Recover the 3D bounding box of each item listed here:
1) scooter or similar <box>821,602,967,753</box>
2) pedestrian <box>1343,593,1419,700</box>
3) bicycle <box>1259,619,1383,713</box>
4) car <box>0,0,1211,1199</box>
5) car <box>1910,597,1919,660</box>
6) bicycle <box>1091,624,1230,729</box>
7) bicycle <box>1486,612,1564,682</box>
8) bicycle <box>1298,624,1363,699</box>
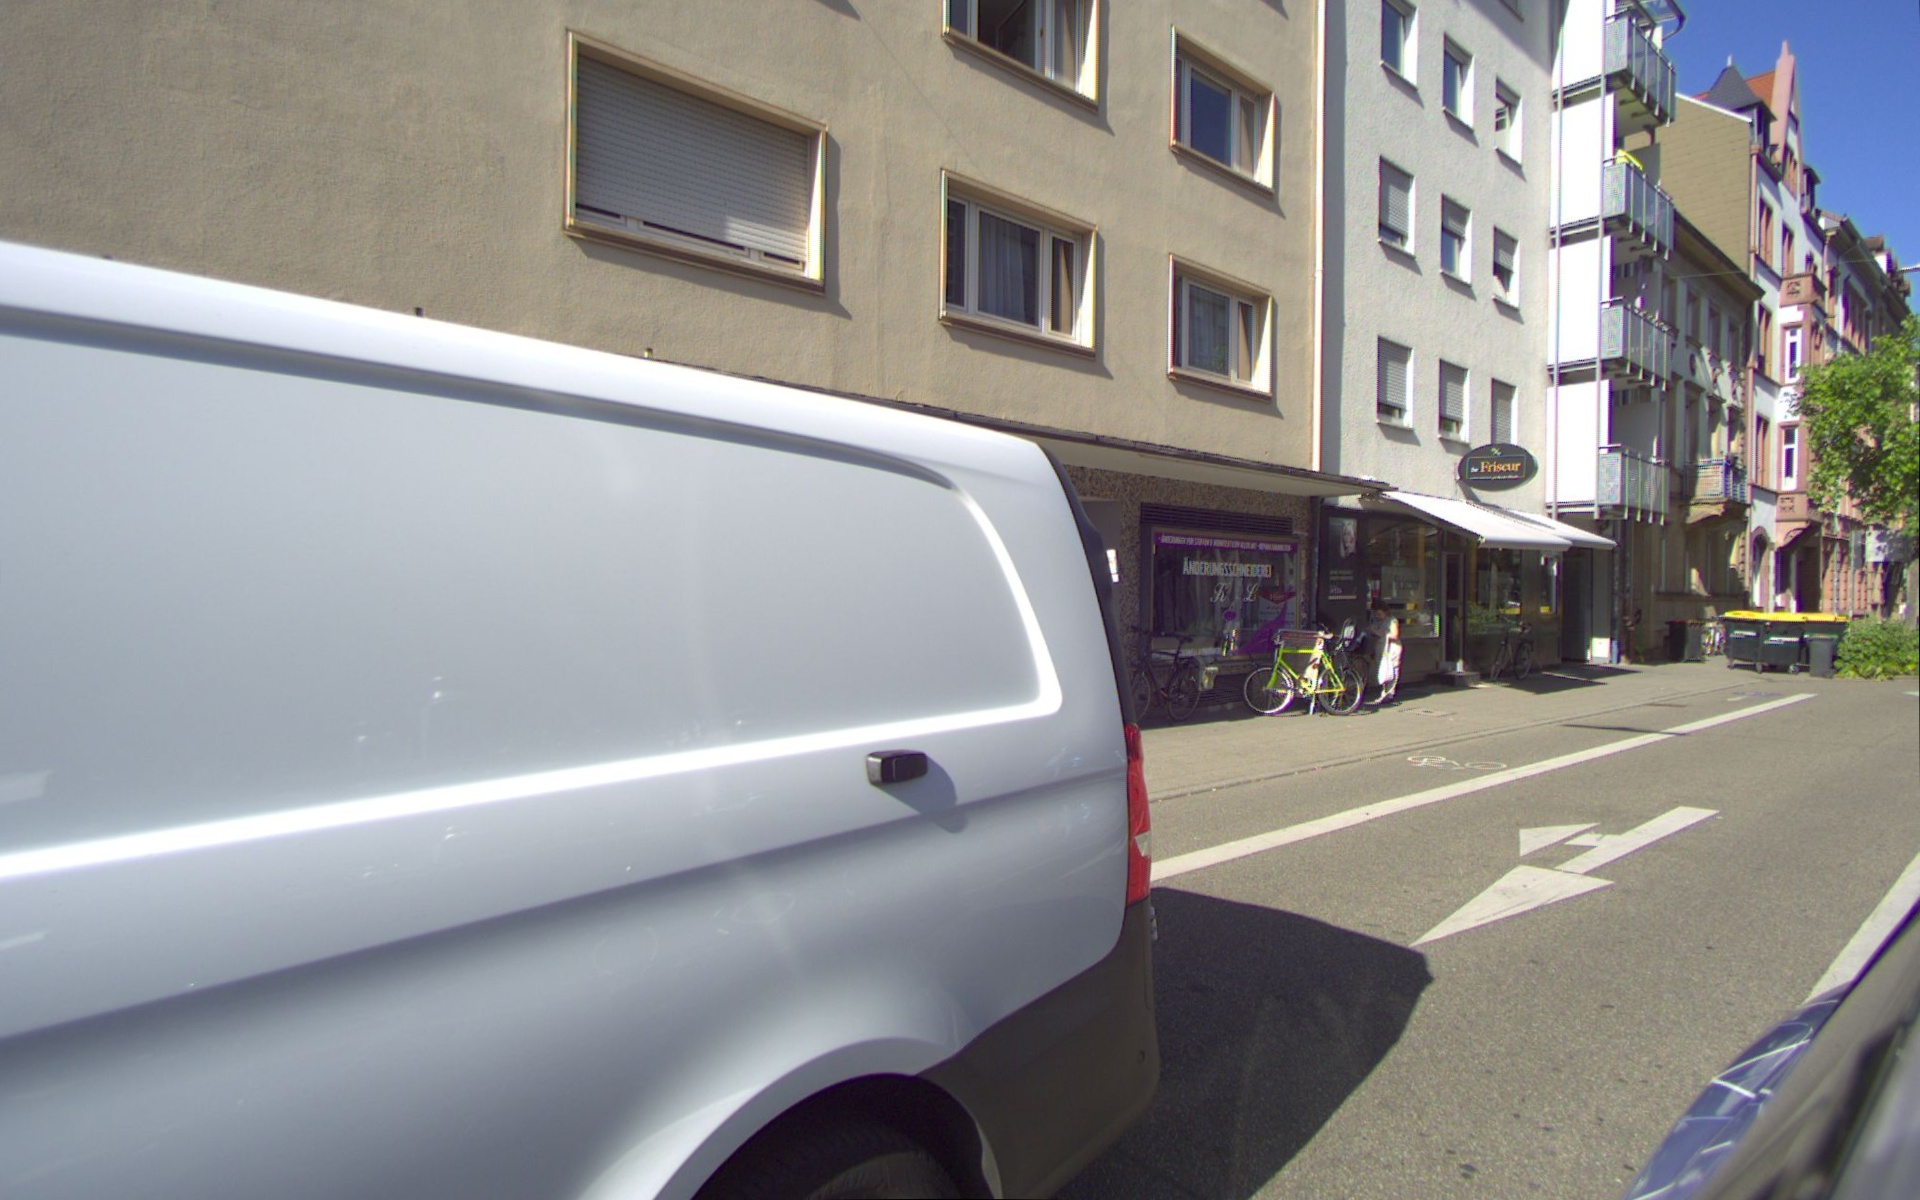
[{"bbox_3d":[-0.566,0.645,8.953,1.207,1.240,0.527,1,0,-41],"label":"scooter or similar"},{"bbox_3d":[6.084,0.647,14.639,0.615,1.459,0.774,1,3,-45],"label":"pedestrian"},{"bbox_3d":[4.702,0.834,13.258,1.475,1.120,0.719,1,0,18],"label":"bicycle"},{"bbox_3d":[-1.919,0.396,1.157,4.750,1.833,1.971,0,1,-42],"label":"car"},{"bbox_3d":[26.339,0.747,26.602,3.484,1.616,1.626,0,0,-41],"label":"car"},{"bbox_3d":[2.303,0.837,11.529,1.766,1.098,0.408,1,3,-36],"label":"bicycle"},{"bbox_3d":[10.189,0.812,18.225,1.743,1.157,0.598,0,3,-41],"label":"bicycle"},{"bbox_3d":[5.296,0.857,14.441,1.155,0.995,0.375,1,0,-43],"label":"bicycle"}]
